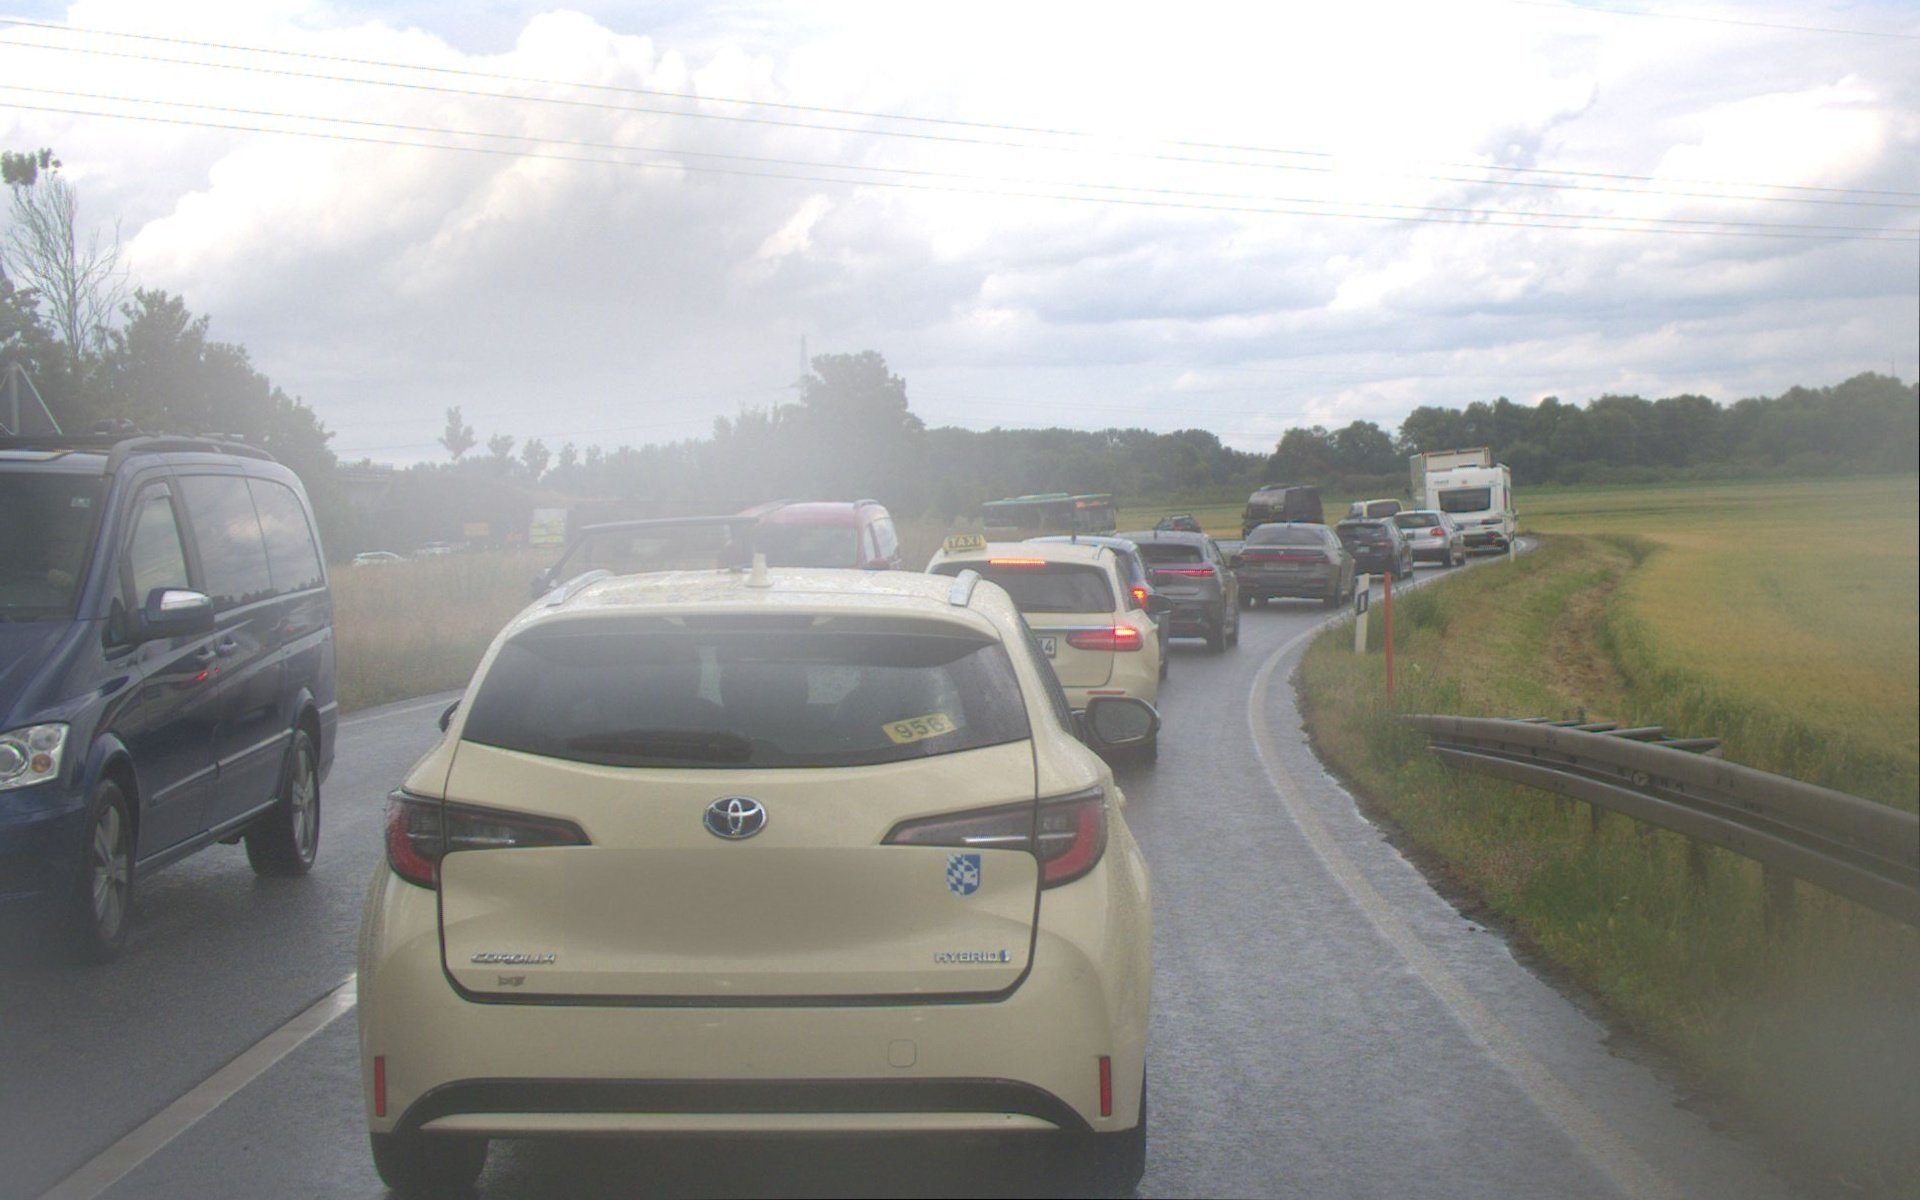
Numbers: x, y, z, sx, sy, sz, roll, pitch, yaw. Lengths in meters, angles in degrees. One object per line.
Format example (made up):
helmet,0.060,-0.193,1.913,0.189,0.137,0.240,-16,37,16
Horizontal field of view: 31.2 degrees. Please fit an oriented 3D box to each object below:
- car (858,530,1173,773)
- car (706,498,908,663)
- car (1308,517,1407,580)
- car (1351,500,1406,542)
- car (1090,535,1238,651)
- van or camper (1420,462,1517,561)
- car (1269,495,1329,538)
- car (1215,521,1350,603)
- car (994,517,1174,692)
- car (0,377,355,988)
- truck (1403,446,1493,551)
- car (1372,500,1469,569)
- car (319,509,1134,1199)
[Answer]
car,0.488,0.278,24.047,1.841,1.487,4.607,1,2,5
car,-1.766,-0.236,41.034,1.801,1.844,4.519,0,0,5
car,9.123,-1.166,78.734,1.826,1.408,3.736,1,0,13
car,18.416,-3.479,151.425,1.883,1.767,4.160,1,0,0
car,2.645,-0.102,43.907,1.613,1.408,3.737,1,0,8
van or camper,15.416,-2.694,103.918,2.538,2.886,6.740,1,2,11
car,16.350,-4.004,166.004,1.739,2.007,4.149,1,0,-11
car,5.862,-0.683,62.108,1.961,1.408,4.390,1,0,11
car,1.299,0.030,34.732,1.613,1.653,3.738,1,0,5
car,-3.878,0.222,13.748,1.962,2.007,4.861,0,1,1
truck,18.710,-3.836,132.121,3.127,3.839,7.385,1,0,6
car,11.985,-1.676,89.269,1.961,1.723,3.735,1,0,16
car,-0.491,0.589,8.734,1.613,1.557,3.738,1,0,-1
